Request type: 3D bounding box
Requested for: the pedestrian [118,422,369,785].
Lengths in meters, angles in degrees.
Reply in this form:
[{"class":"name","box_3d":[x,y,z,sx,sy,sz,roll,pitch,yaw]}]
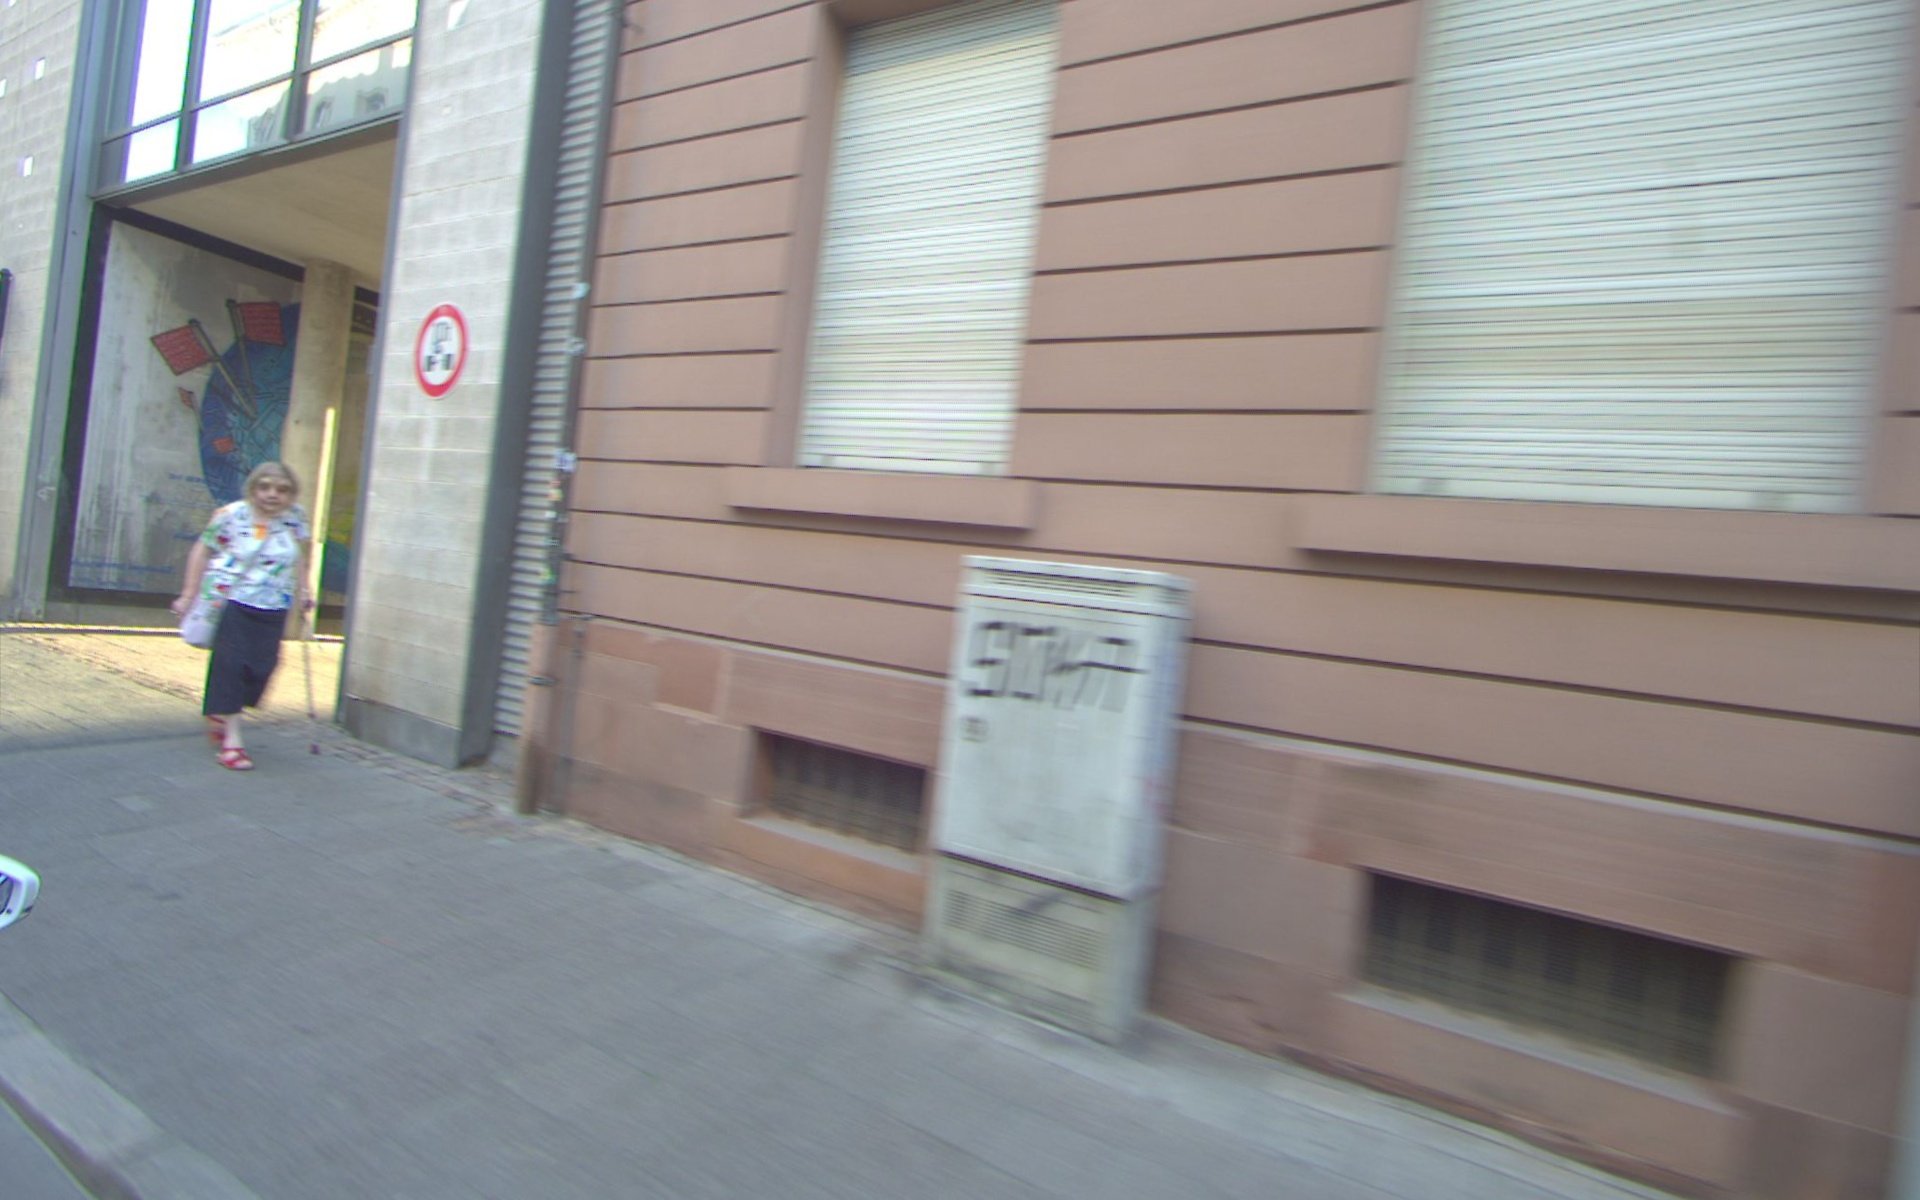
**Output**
[{"class":"pedestrian","box_3d":[-4.015,0.003,5.644,0.883,1.827,0.844,7,3,36]}]
